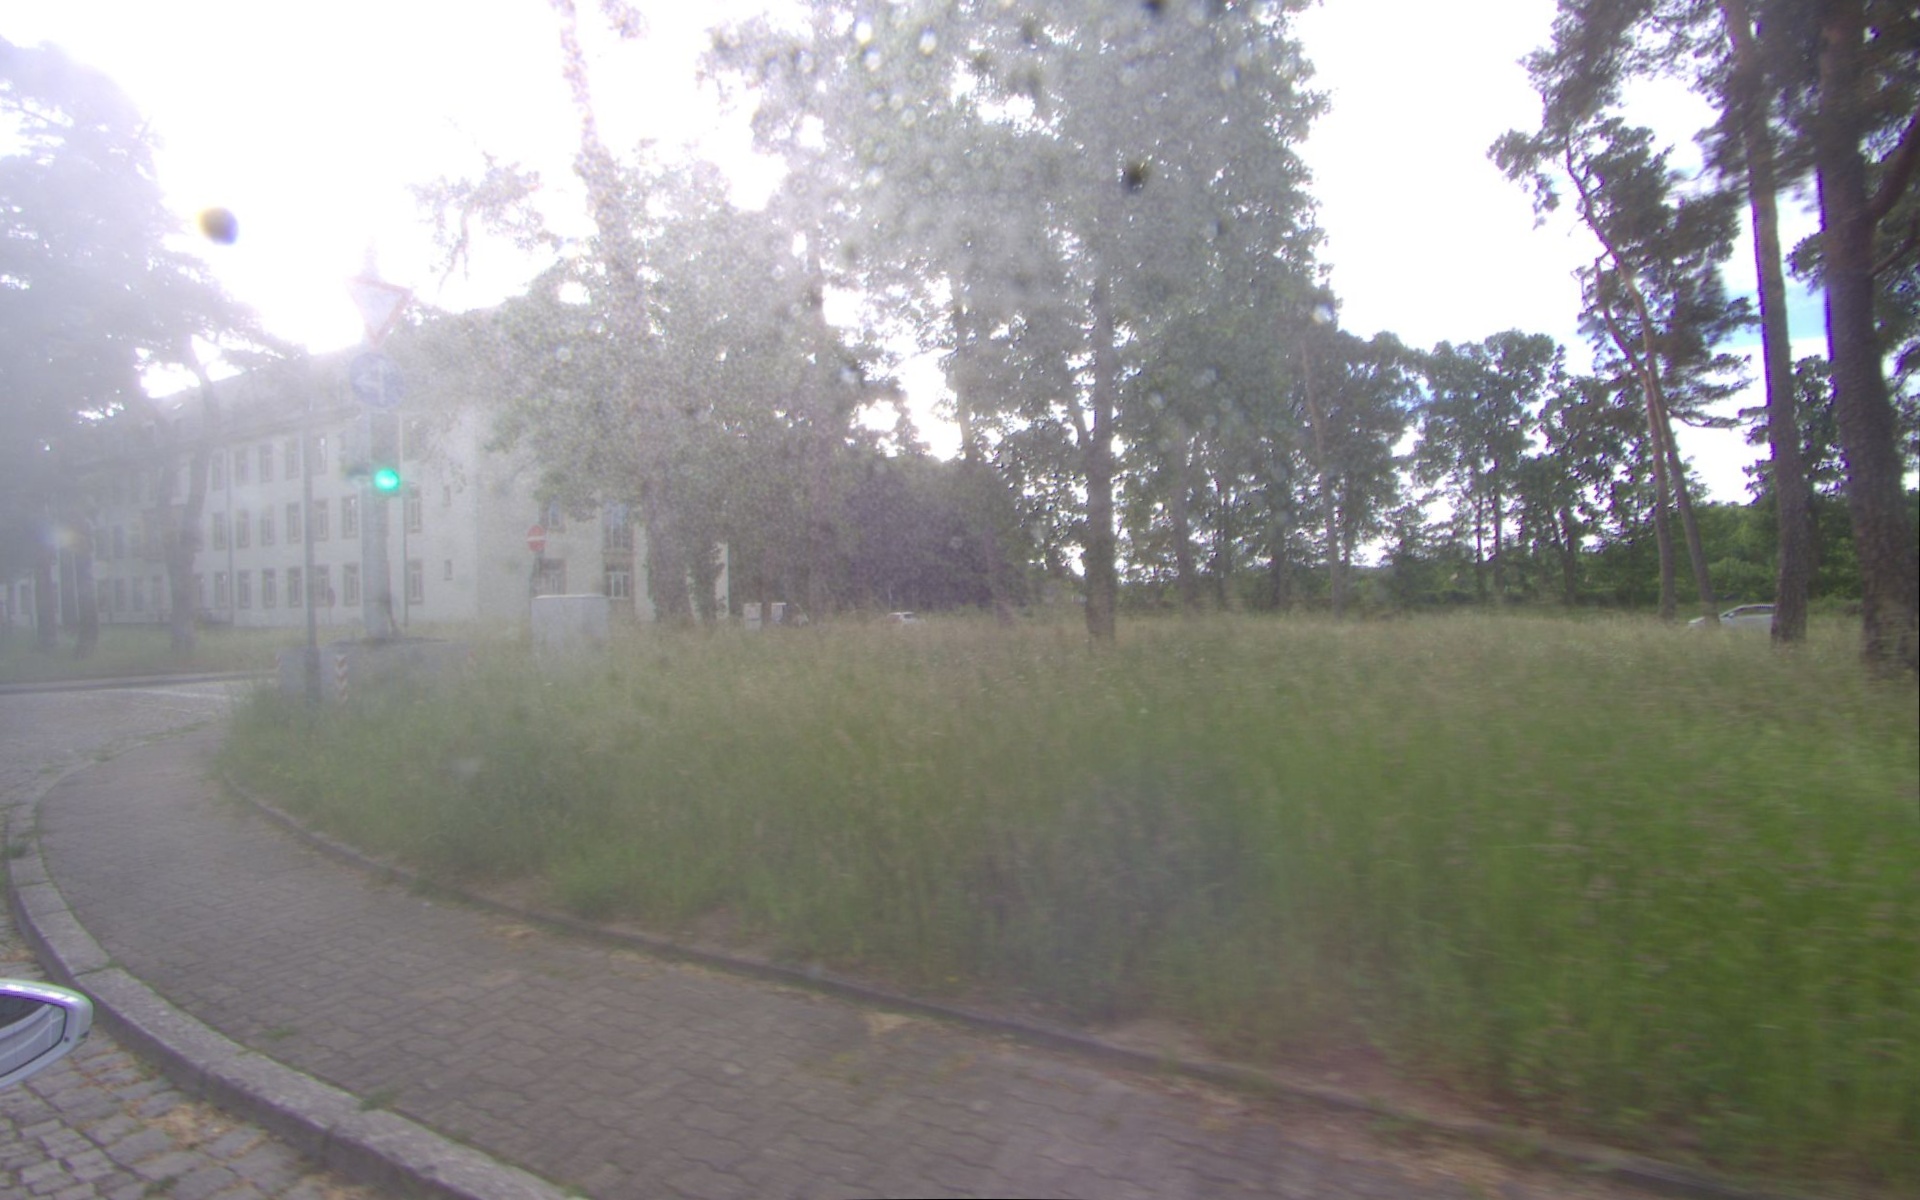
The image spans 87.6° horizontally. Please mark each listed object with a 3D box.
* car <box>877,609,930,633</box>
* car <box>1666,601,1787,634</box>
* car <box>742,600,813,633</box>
[{"bbox_3d":[-3.866,1.414,68.417,1.972,1.527,3.475,-1,0,32],"label":"car"},{"bbox_3d":[34.952,0.786,45.804,4.196,1.434,1.878,-1,0,32],"label":"car"},{"bbox_3d":[-13.292,1.179,73.382,2.182,2.318,5.169,-1,0,33],"label":"car"}]
